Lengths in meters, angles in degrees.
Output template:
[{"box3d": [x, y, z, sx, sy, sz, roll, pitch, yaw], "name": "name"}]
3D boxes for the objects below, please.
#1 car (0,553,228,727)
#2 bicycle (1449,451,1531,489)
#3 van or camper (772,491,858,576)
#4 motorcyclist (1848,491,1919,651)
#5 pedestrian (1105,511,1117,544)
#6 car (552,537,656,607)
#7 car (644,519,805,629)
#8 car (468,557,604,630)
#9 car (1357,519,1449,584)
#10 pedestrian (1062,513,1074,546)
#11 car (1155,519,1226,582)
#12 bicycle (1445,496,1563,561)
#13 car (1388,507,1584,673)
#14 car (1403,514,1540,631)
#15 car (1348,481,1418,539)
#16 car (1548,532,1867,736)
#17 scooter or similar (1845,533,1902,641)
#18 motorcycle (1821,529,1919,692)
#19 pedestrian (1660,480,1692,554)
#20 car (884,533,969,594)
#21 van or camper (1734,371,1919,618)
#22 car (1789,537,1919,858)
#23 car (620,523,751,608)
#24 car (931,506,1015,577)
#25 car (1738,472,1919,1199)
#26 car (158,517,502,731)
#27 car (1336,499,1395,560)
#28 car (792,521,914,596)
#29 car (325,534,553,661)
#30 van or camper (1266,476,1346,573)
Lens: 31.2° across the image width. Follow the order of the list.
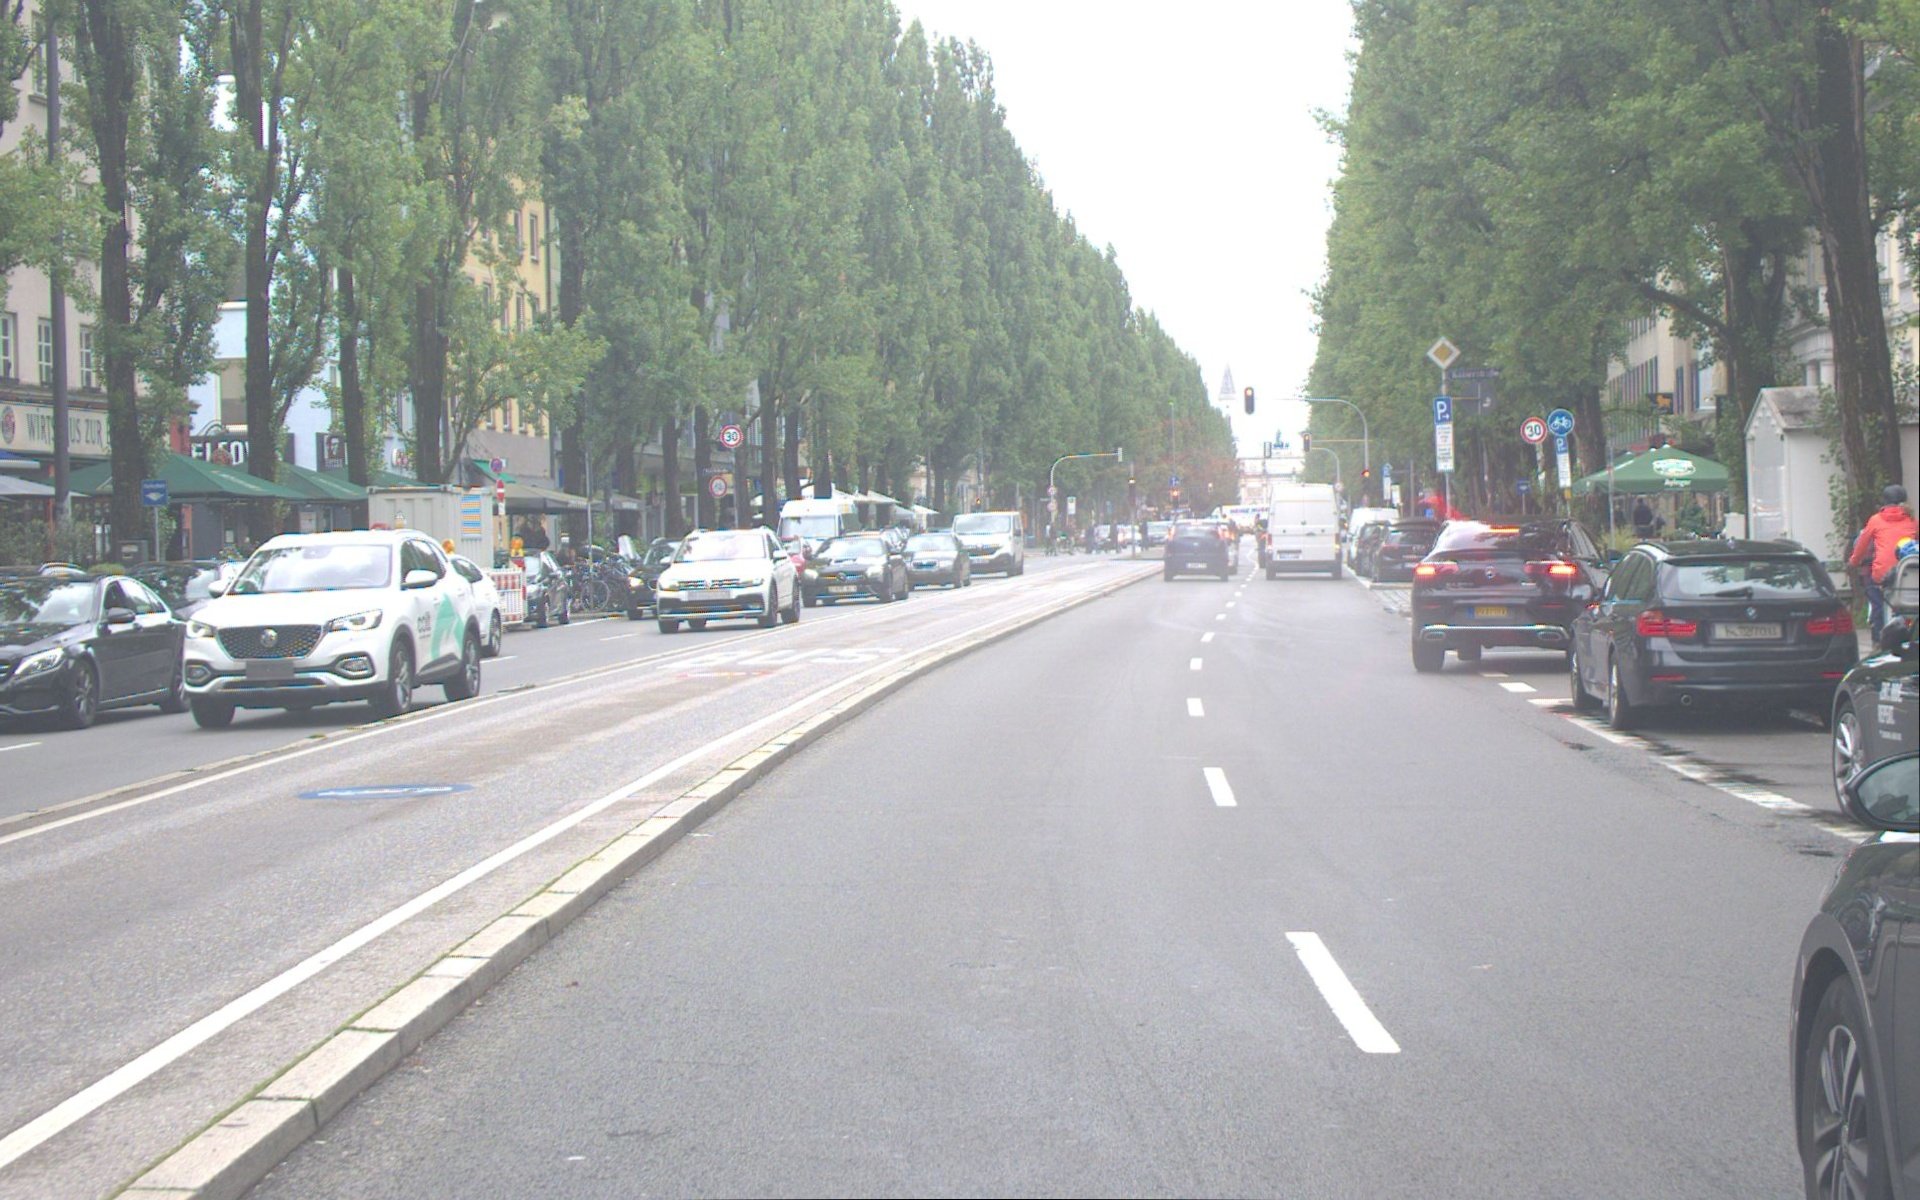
[{"box3d": [-8.510, 0.335, 32.058, 1.940, 1.429, 4.538, -2, 1, 6], "name": "car"}, {"box3d": [15.081, -3.698, 97.849, 0.759, 1.020, 2.734, -2, 2, -30], "name": "bicycle"}, {"box3d": [-4.326, -2.003, 103.288, 1.994, 2.450, 4.251, -1, 1, 5], "name": "van or camper"}, {"box3d": [8.362, -0.268, 30.858, 0.564, 1.401, 0.766, -2, 1, 2], "name": "motorcyclist"}, {"box3d": [7.777, -3.728, 176.904, 0.553, 1.710, 0.493, -2, 1, 6], "name": "pedestrian"}, {"box3d": [-7.269, -0.589, 70.446, 1.512, 1.340, 3.237, -2, 1, 4], "name": "car"}, {"box3d": [-3.783, -0.460, 55.971, 1.940, 1.636, 4.463, -2, 1, 4], "name": "car"}, {"box3d": [-7.952, -0.142, 64.750, 1.810, 1.246, 3.700, -1, 1, 4], "name": "car"}, {"box3d": [10.694, -1.190, 83.196, 1.944, 1.462, 4.000, -1, 1, 4], "name": "car"}, {"box3d": [5.579, -3.649, 177.499, 0.553, 1.710, 0.493, -2, 1, 6], "name": "pedestrian"}, {"box3d": [6.073, -1.284, 90.234, 1.759, 1.614, 3.746, 0, 1, 5], "name": "car"}, {"box3d": [17.067, -2.242, 107.930, 3.551, 2.007, 1.296, 0, 0, 14], "name": "bicycle"}, {"box3d": [5.729, -0.156, 37.070, 1.881, 1.636, 4.581, -1, 1, 11], "name": "car"}, {"box3d": [7.323, -0.427, 49.532, 1.624, 1.560, 4.371, -1, 1, 4], "name": "car"}, {"box3d": [12.034, -2.536, 97.982, 1.805, 1.590, 3.999, 0, 1, 5], "name": "car"}, {"box3d": [5.764, 0.203, 26.990, 1.733, 1.389, 4.433, -2, 1, 3], "name": "car"}, {"box3d": [10.887, -0.166, 40.956, 0.525, 1.228, 1.475, -3, 1, 18], "name": "scooter or similar"}, {"box3d": [8.402, 0.068, 30.772, 0.826, 1.365, 2.253, -2, 1, 2], "name": "motorcycle"}, {"box3d": [15.875, -1.837, 76.233, 0.648, 1.641, 0.765, 0, 0, 14], "name": "pedestrian"}, {"box3d": [-0.799, -0.912, 84.400, 1.712, 1.409, 3.722, -1, 1, 4], "name": "car"}, {"box3d": [12.004, -1.427, 46.319, 2.461, 3.101, 4.715, -2, 1, 6], "name": "van or camper"}, {"box3d": [5.276, 0.427, 16.068, 1.847, 1.423, 4.425, -1, 1, 2], "name": "car"}, {"box3d": [-5.331, -0.683, 67.279, 1.849, 1.559, 4.211, -2, 0, 5], "name": "car"}, {"box3d": [0.416, -1.723, 101.882, 1.994, 1.927, 4.917, -3, 1, 5], "name": "car"}, {"box3d": [2.500, 0.599, 5.077, 1.761, 1.608, 4.184, 0, 1, 0], "name": "car"}, {"box3d": [-5.586, 0.153, 31.077, 1.860, 1.705, 4.535, -2, 1, 5], "name": "car"}, {"box3d": [13.581, -2.342, 115.274, 1.805, 1.985, 3.999, 0, 1, 5], "name": "car"}, {"box3d": [-2.223, -0.892, 72.536, 1.994, 1.427, 4.771, -2, 1, 5], "name": "car"}, {"box3d": [-6.728, -0.071, 44.851, 1.940, 1.488, 4.456, -2, 1, 4], "name": "car"}, {"box3d": [9.218, -1.998, 91.847, 2.035, 2.467, 3.999, -1, 0, 5], "name": "van or camper"}]
